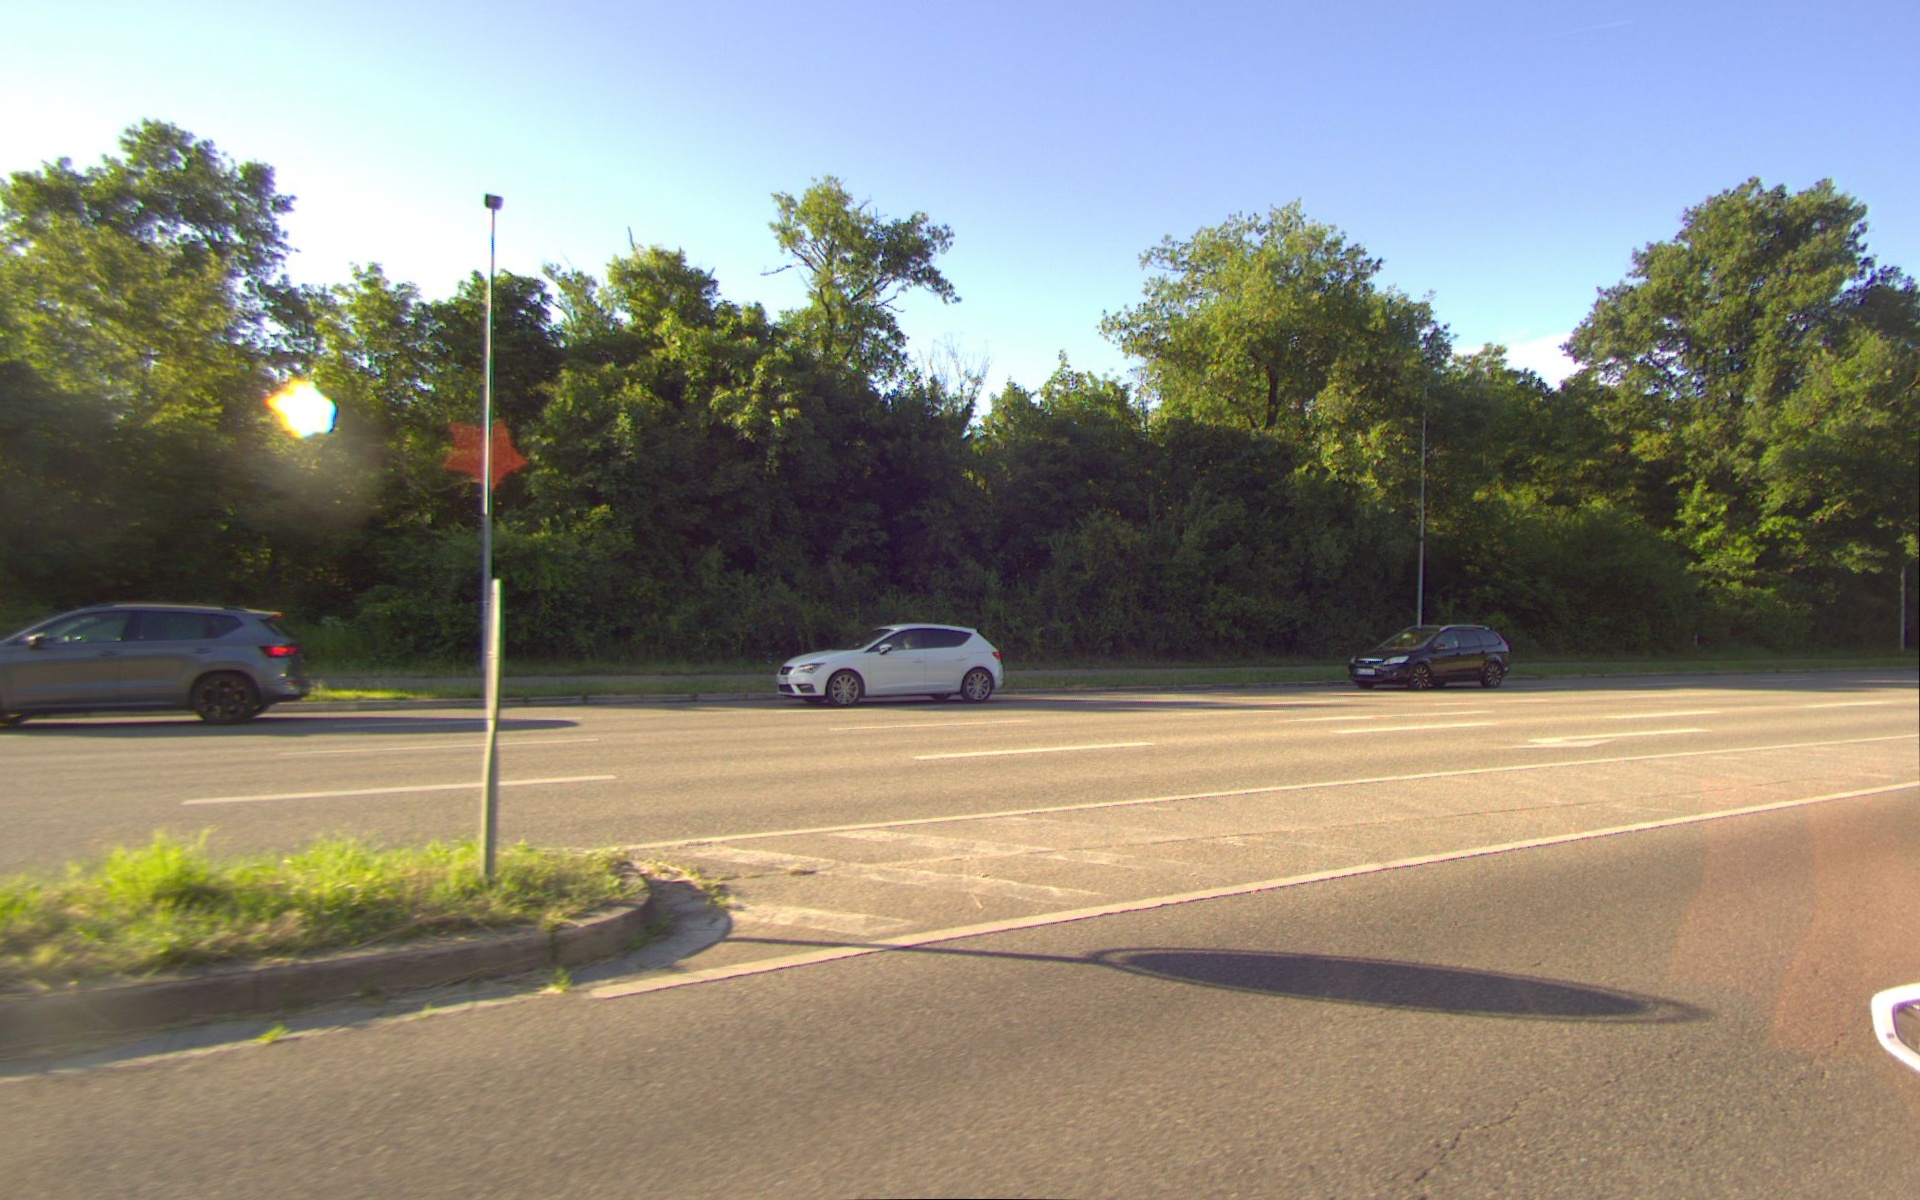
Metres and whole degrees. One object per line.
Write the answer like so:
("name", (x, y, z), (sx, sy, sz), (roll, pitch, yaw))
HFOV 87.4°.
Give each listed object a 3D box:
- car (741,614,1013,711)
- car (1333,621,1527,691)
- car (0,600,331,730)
("car", (-1.482, 1.101, 18.404), (4.591, 1.584, 1.985), (2, -2, -29))
("car", (11.643, 1.358, 24.863), (4.588, 1.584, 1.987), (1, -2, -27))
("car", (-11.309, 0.841, 13.521), (4.588, 1.584, 1.987), (1, -2, -27))
